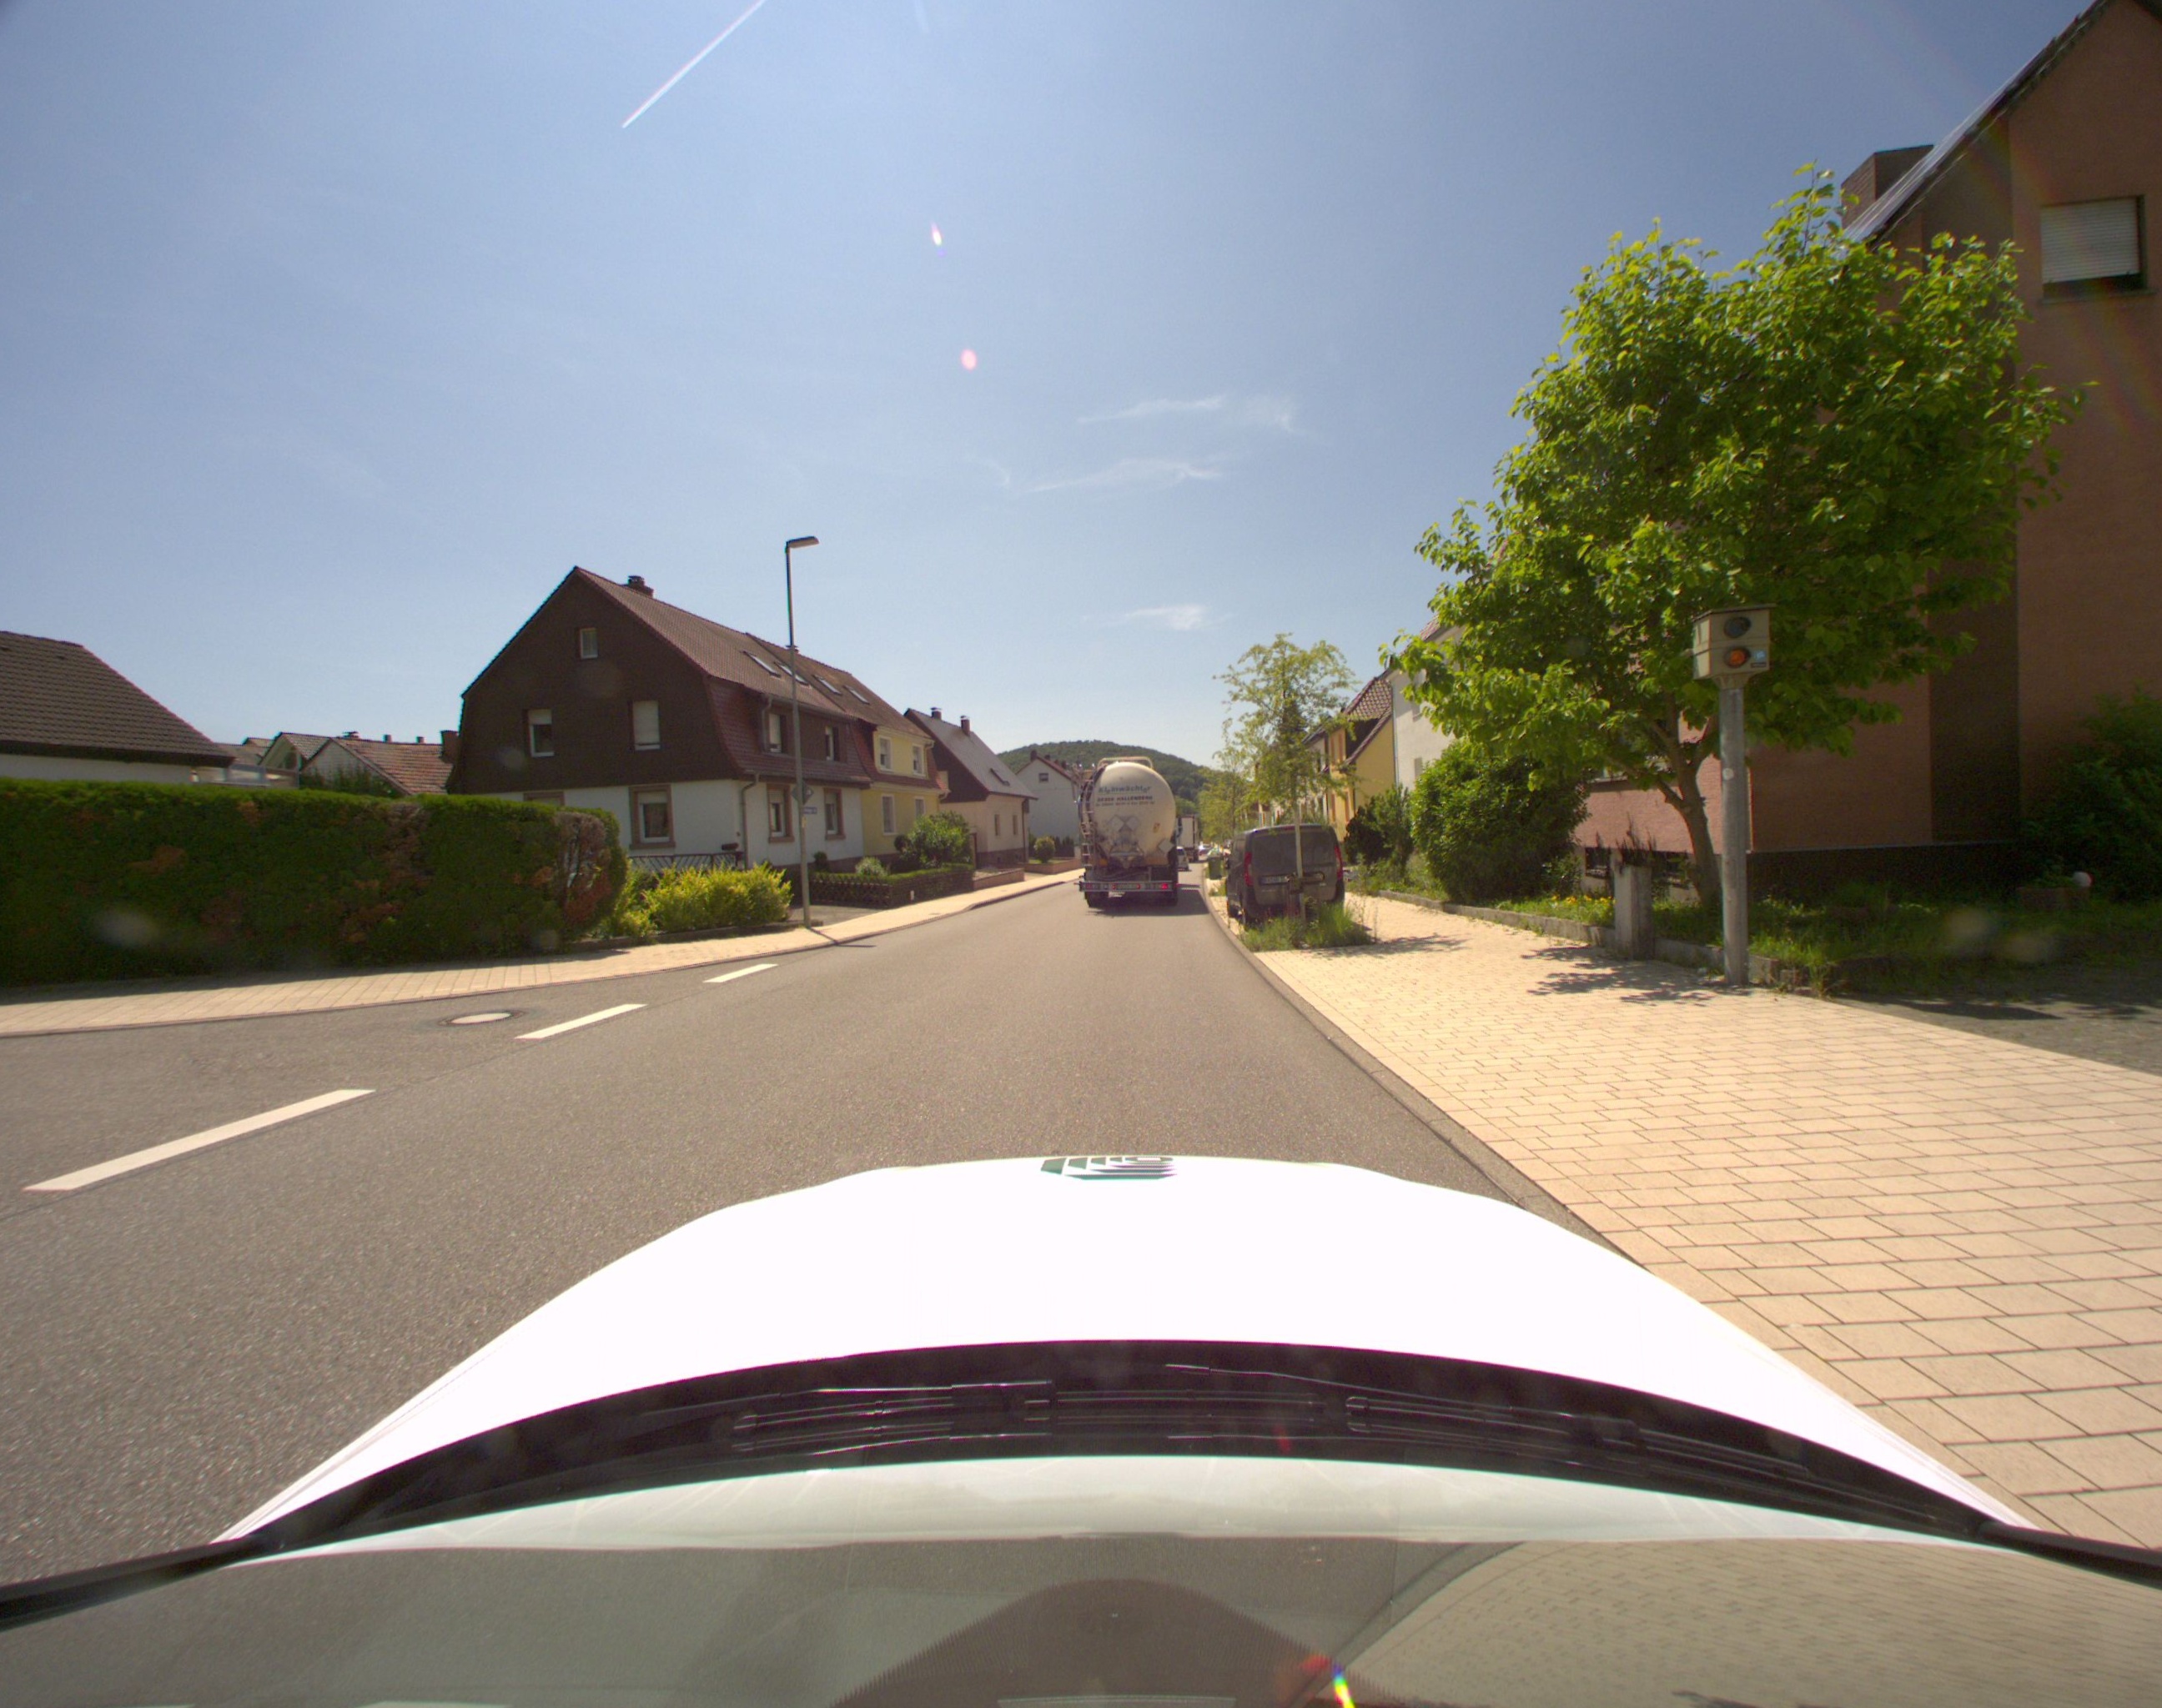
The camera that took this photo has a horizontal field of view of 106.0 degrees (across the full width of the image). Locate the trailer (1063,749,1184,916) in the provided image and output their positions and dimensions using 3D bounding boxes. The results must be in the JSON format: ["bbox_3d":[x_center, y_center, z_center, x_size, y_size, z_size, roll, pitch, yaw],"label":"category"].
[{"bbox_3d":[1.684,-0.593,25.013,2.781,4.000,10.347,-1,1,8],"label":"trailer"}]

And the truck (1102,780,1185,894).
[{"bbox_3d":[2.545,-0.629,31.315,2.793,3.936,6.112,-1,1,7],"label":"truck"}]

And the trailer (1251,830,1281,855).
[{"bbox_3d":[15.815,-0.991,69.661,2.285,2.013,1.309,-2,0,-39],"label":"trailer"}]

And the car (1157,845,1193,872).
[{"bbox_3d":[6.032,0.267,52.089,1.897,1.554,4.012,-3,0,11],"label":"car"}]

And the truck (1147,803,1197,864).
[{"bbox_3d":[8.231,-1.773,73.606,3.890,4.895,9.815,-3,0,7],"label":"truck"}]

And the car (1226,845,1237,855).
[{"bbox_3d":[26.357,-0.738,142.506,1.780,1.541,4.532,-3,0,10],"label":"car"}]

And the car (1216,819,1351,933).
[{"bbox_3d":[3.851,0.354,16.287,1.846,1.842,4.678,-3,0,5],"label":"car"}]

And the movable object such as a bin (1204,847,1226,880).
[{"bbox_3d":[6.116,0.423,37.260,0.788,1.395,0.927,-6,0,6],"label":"movable object such as a bin"}]

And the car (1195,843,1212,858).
[{"bbox_3d":[15.636,-0.500,104.074,1.983,1.822,4.008,-1,0,7],"label":"car"}]

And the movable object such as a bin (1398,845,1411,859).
[{"bbox_3d":[14.351,-0.091,36.131,0.451,0.571,0.376,-1,0,9],"label":"movable object such as a bin"}]

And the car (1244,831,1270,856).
[{"bbox_3d":[16.128,-0.960,74.812,1.842,1.970,4.785,-7,-1,8],"label":"car"}]
